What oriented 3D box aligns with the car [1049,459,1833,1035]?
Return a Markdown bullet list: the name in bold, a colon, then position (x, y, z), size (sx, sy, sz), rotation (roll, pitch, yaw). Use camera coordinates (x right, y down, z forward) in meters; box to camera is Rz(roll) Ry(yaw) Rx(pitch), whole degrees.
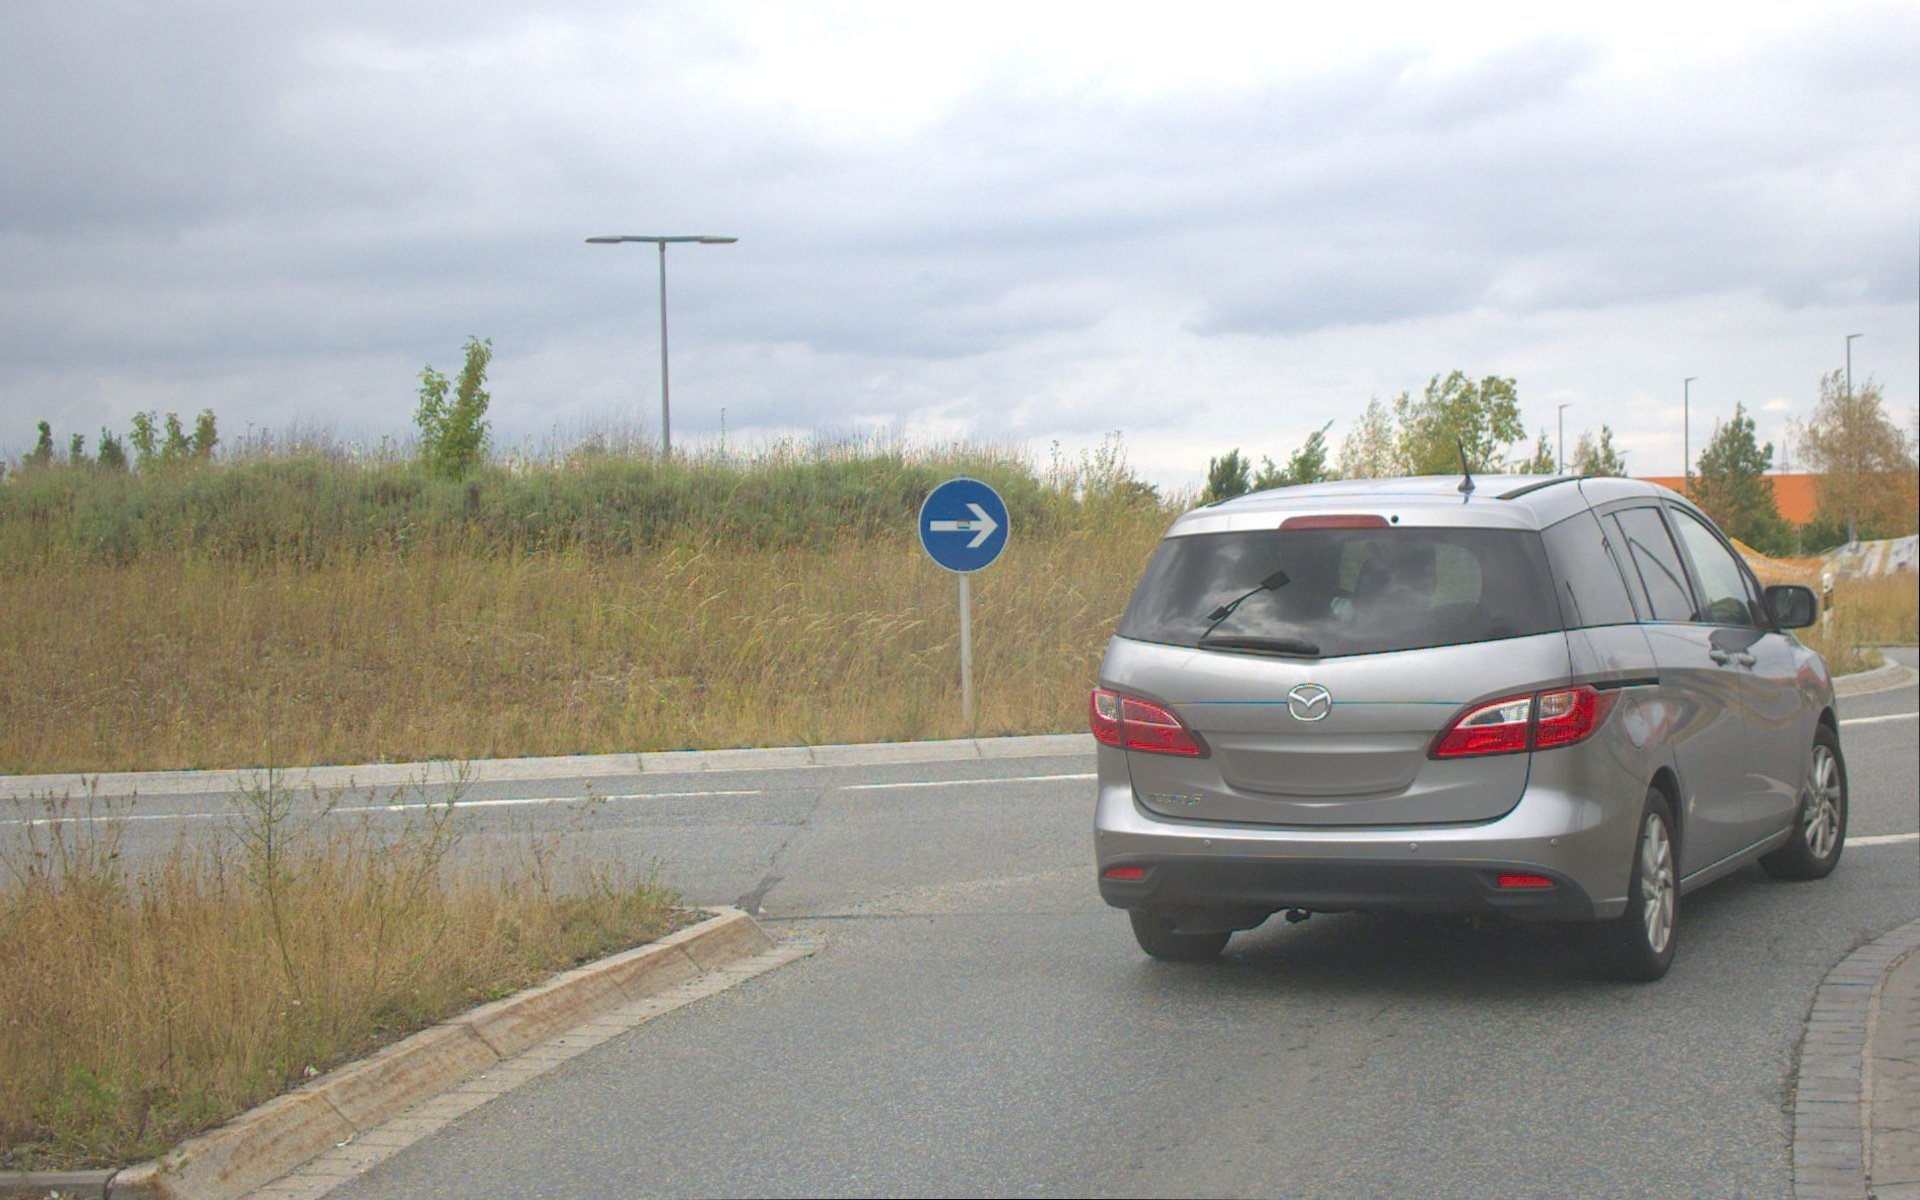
- **car**: position (1.858, 0.337, 12.065), size (1.740, 1.593, 3.993), rotation (1, 4, 23)
